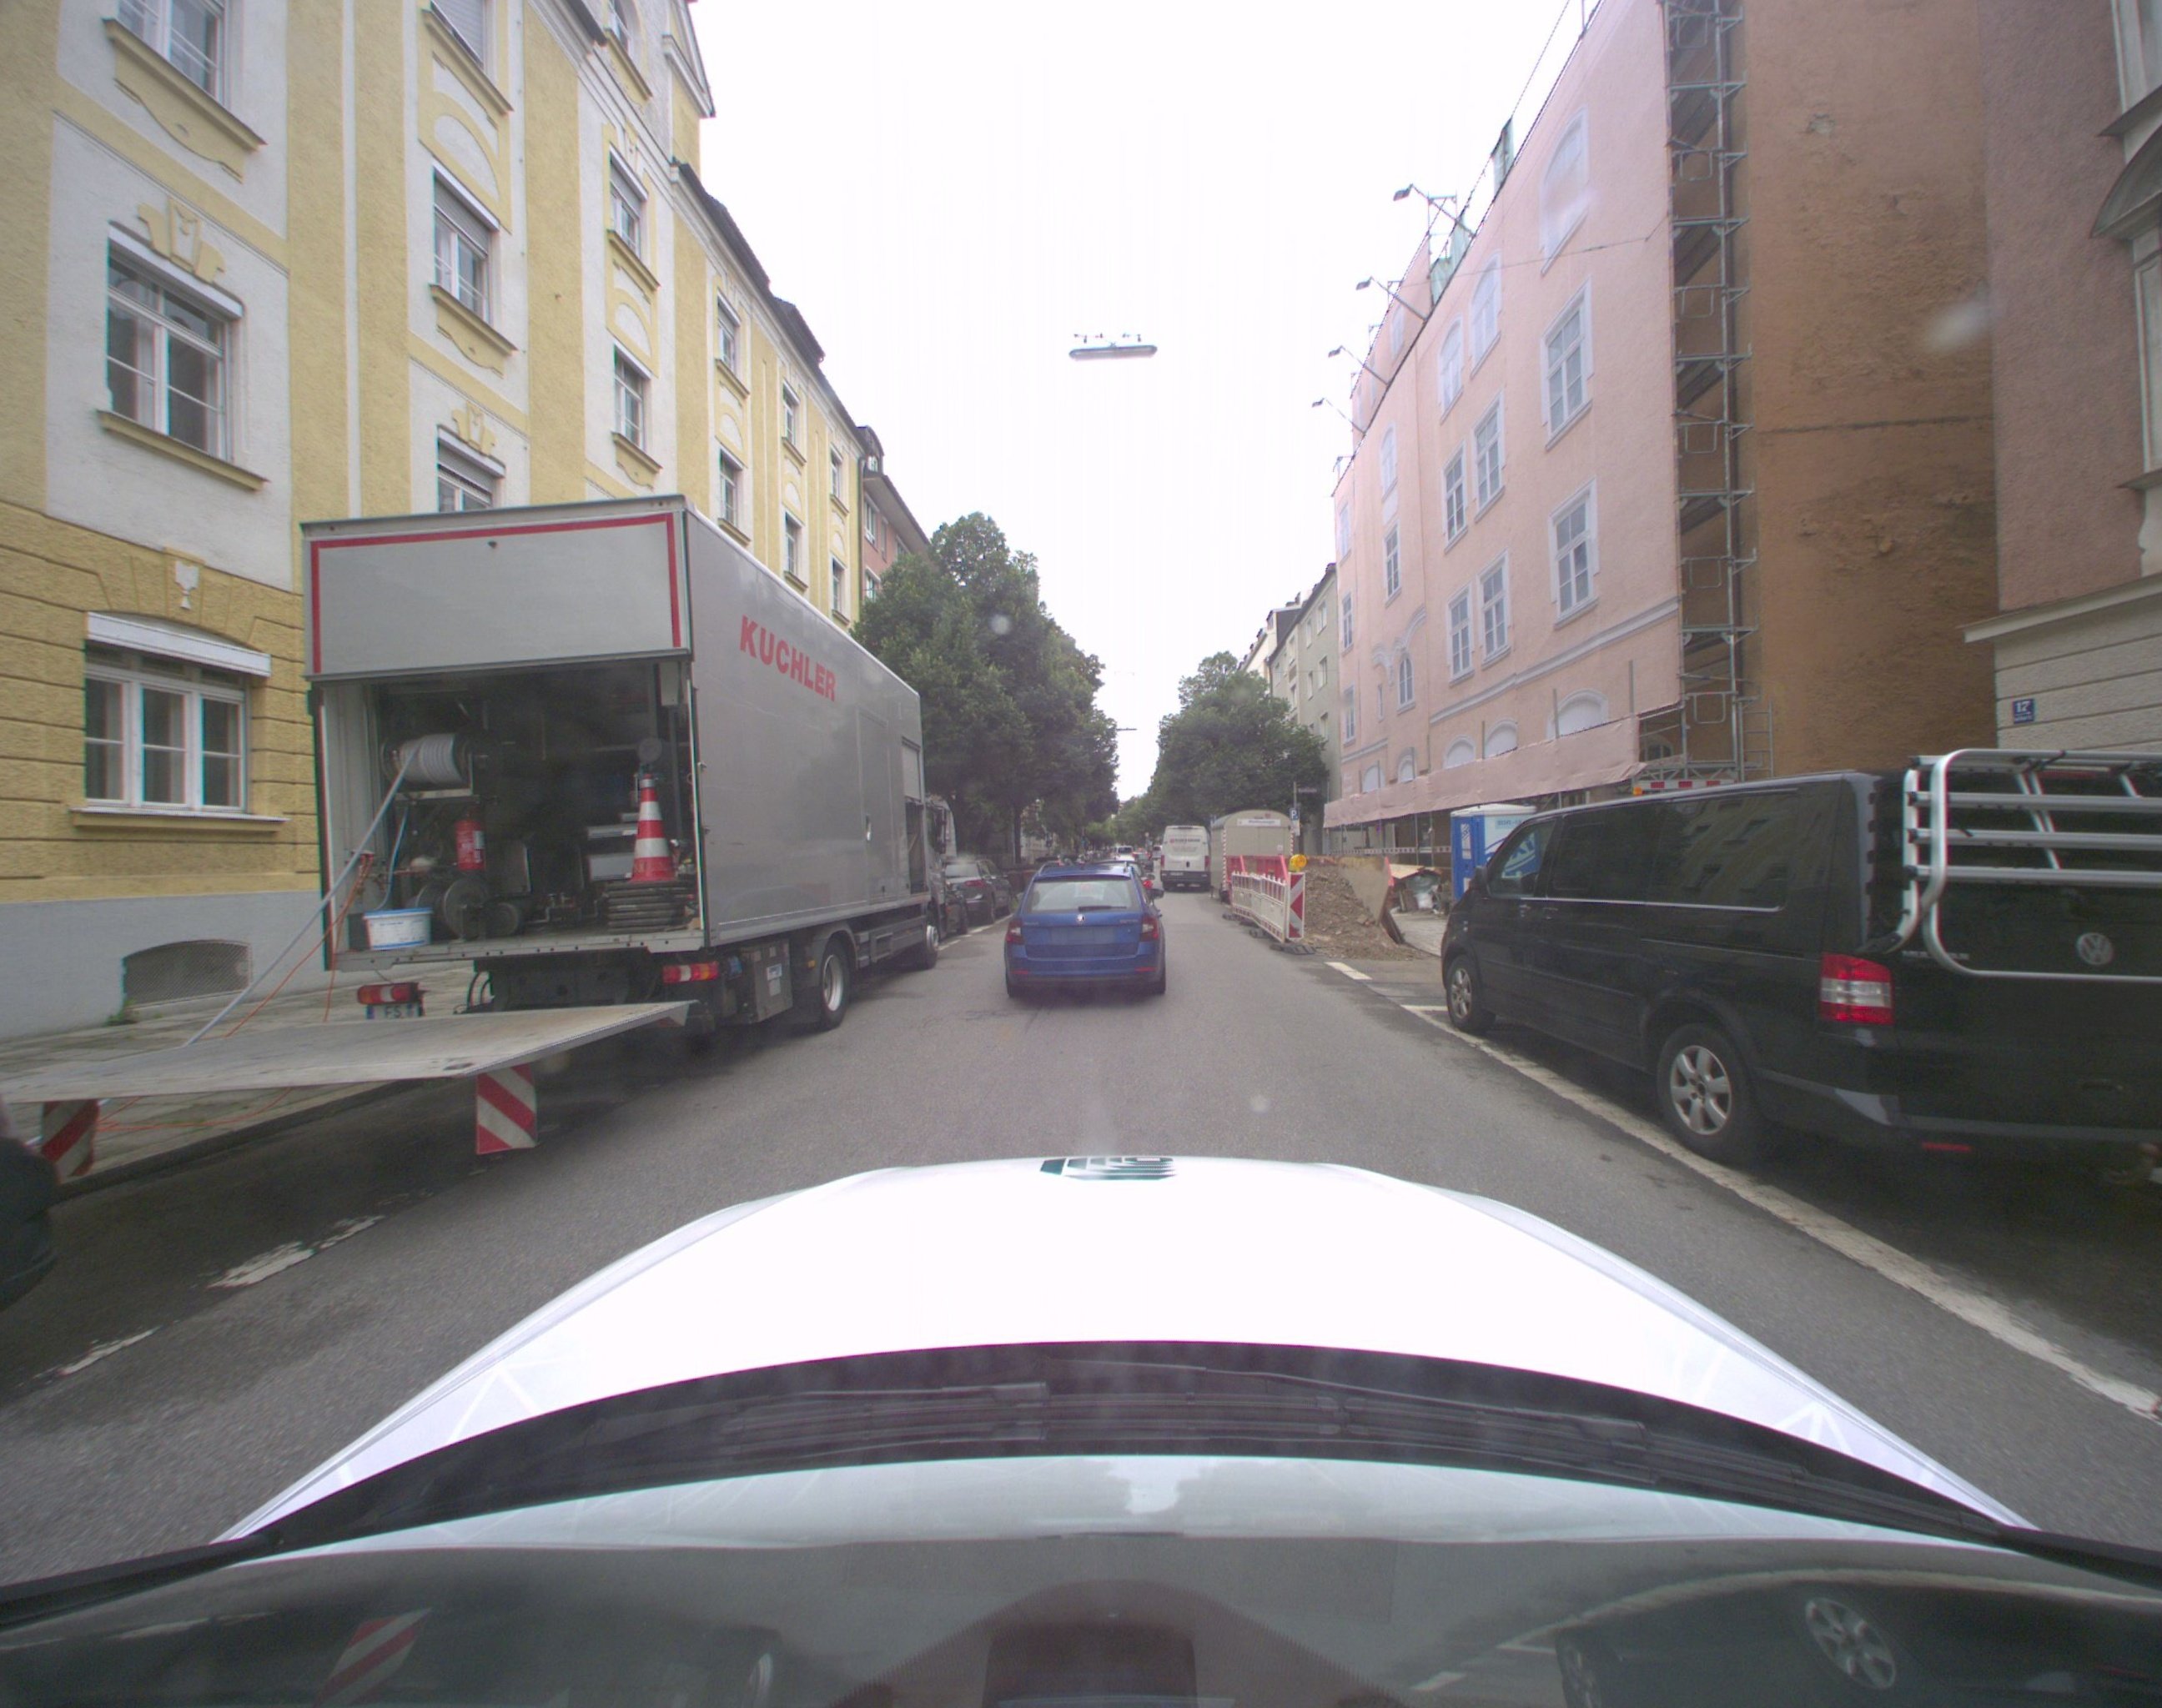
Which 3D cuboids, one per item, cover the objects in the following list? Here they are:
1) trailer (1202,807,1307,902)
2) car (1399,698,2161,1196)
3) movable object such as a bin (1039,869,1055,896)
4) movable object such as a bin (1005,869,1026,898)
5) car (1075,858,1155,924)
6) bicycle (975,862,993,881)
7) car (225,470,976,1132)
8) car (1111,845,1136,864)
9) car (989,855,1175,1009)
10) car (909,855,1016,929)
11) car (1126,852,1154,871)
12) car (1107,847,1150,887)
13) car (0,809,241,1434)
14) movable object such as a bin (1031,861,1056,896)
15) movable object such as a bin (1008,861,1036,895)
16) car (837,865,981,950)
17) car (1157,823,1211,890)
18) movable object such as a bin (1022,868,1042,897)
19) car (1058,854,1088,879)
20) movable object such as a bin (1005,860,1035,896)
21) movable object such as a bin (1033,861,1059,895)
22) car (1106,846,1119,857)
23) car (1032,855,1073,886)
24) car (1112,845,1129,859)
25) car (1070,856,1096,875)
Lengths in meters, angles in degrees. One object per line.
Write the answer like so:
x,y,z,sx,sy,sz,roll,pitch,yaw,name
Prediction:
5.715,0.048,27.870,2.491,2.840,6.907,0,-1,3,trailer
4.112,0.459,5.731,2.073,1.921,5.146,0,-3,4,car
-1.391,1.164,33.236,0.545,1.020,0.636,-3,0,0,movable object such as a bin
-2.677,1.199,33.177,0.718,1.138,0.658,-3,0,0,movable object such as a bin
0.896,0.811,19.533,1.733,1.422,3.669,0,0,5,car
-5.993,1.081,50.509,0.632,1.067,2.390,-2,0,4,bicycle
-3.434,-0.280,9.167,2.801,3.817,8.730,-2,0,3,car
4.298,0.006,82.875,1.865,1.870,4.339,0,0,-6,car
0.083,0.780,10.153,1.782,1.460,4.316,-2,0,2,car
-2.887,0.875,20.824,1.777,1.628,4.190,-2,0,4,car
4.475,0.569,62.144,1.861,1.348,4.348,0,0,1,car
2.147,0.549,37.322,1.860,1.696,4.351,0,0,3,car
-4.112,0.803,0.829,1.755,1.779,4.332,-3,0,4,car
-1.550,1.000,34.100,0.915,1.376,1.079,-3,0,-1,movable object such as a bin
-2.551,1.019,35.163,1.054,1.376,1.095,-3,0,-1,movable object such as a bin
-3.222,0.955,16.022,1.691,1.409,3.714,-2,0,5,car
4.512,0.122,35.032,2.100,2.664,5.514,0,-1,9,car
-2.010,1.159,33.202,0.709,1.148,0.636,-3,0,0,movable object such as a bin
-0.466,0.786,52.638,1.805,1.478,4.001,-1,0,1,car
-2.547,0.992,34.061,1.078,1.376,1.083,-3,0,-1,movable object such as a bin
-1.496,1.015,35.197,1.017,1.376,1.103,-3,0,-1,movable object such as a bin
4.711,-0.413,122.035,2.000,1.653,4.350,0,0,2,car
-1.423,0.815,41.929,1.805,1.478,4.001,-1,0,1,car
4.793,-0.207,99.524,1.861,1.653,4.347,0,0,0,car
0.226,0.893,64.670,1.804,1.478,4.004,-1,0,3,car
